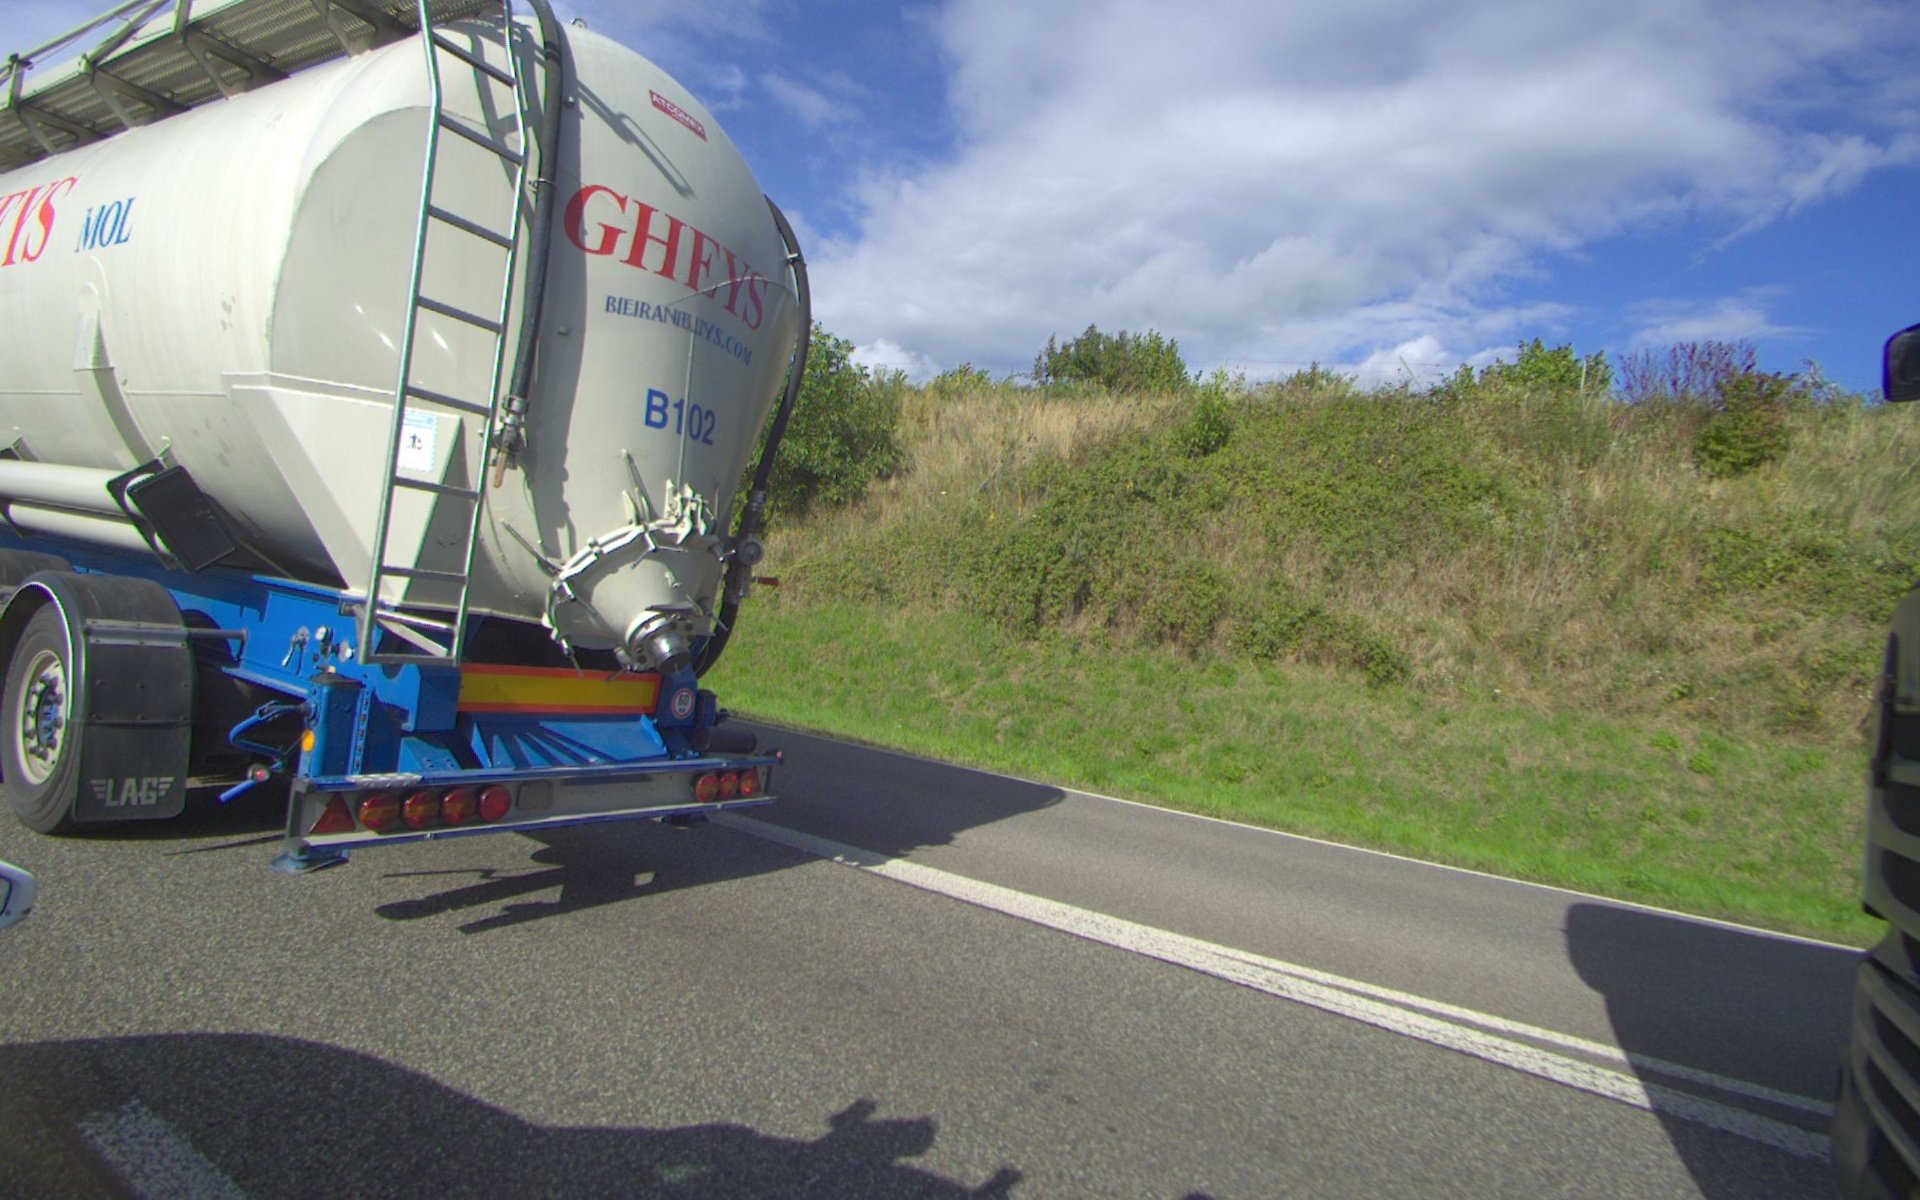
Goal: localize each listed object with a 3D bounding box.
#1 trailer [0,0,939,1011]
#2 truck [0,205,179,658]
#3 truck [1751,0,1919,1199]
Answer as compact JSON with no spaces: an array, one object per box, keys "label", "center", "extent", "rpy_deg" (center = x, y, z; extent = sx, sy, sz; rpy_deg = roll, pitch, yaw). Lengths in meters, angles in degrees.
[{"label":"trailer","center":[-5.661,-1.177,6.981],"extent":[10.990,3.981,2.650],"rpy_deg":[7,-1,32]},{"label":"truck","center":[-11.598,-1.843,10.703],"extent":[6.827,3.971,2.653],"rpy_deg":[6,-1,32]},{"label":"truck","center":[4.559,0.005,0.472],"extent":[6.007,4.069,2.368],"rpy_deg":[6,-1,33]}]
